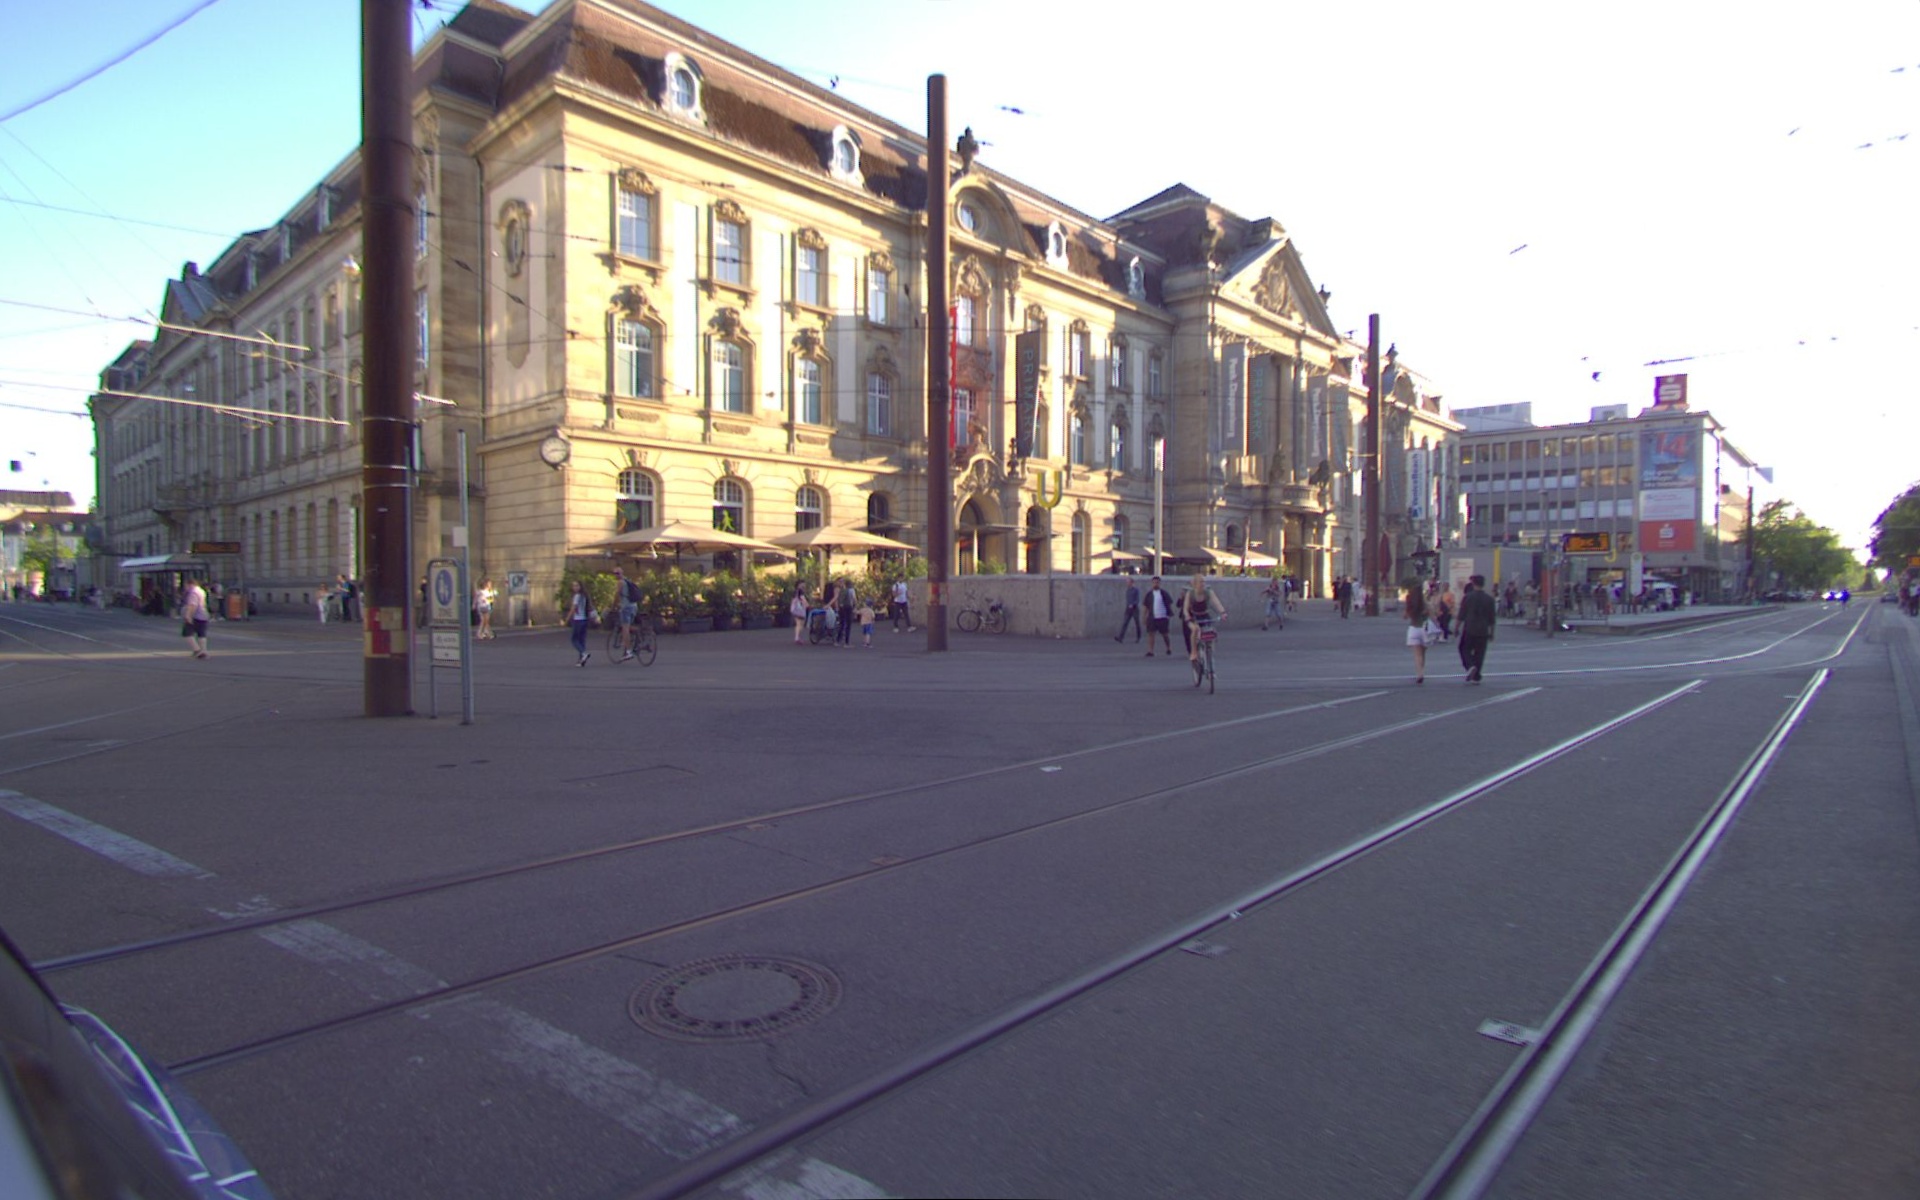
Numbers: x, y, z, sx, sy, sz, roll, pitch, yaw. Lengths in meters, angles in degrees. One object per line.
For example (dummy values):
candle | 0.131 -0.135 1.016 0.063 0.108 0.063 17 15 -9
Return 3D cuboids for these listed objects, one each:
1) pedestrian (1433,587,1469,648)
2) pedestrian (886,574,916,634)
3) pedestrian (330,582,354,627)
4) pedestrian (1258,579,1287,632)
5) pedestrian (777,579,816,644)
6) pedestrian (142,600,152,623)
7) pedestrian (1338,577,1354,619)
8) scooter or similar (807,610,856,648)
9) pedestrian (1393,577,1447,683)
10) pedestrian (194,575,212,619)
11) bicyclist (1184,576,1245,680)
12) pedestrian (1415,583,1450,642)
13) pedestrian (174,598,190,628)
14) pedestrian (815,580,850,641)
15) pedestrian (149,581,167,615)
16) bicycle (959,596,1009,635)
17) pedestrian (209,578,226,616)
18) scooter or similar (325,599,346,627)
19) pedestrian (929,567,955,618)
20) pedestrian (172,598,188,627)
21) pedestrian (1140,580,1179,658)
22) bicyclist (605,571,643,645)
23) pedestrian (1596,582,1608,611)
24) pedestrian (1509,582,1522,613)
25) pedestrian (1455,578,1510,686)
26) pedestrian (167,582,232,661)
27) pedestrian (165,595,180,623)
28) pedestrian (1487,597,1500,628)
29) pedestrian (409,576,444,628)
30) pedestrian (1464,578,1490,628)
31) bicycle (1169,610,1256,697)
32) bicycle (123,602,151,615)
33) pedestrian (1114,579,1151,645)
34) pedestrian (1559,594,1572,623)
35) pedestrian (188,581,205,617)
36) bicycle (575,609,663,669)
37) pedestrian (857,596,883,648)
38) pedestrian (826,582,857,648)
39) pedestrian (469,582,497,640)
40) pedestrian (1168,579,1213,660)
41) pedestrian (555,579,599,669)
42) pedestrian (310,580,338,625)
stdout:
pedestrian | 13.463 0.460 27.770 0.674 1.649 0.587 0 0 -13
pedestrian | -1.737 0.107 29.821 0.716 1.718 0.494 0 2 25
pedestrian | -24.813 0.178 40.629 0.705 1.789 0.614 0 1 40
pedestrian | 10.141 0.172 32.880 0.651 1.687 0.706 0 0 43
pedestrian | -4.135 0.285 25.655 0.687 1.626 0.819 0 0 17
pedestrian | -42.439 0.589 52.847 0.360 1.209 0.430 -2 2 -41
pedestrian | 15.095 -0.089 39.584 0.503 1.649 0.347 0 0 5
scooter or similar | -3.250 0.731 25.599 0.882 0.911 1.091 0 0 15
pedestrian | 7.485 0.472 16.477 0.651 1.687 0.523 0 0 44
pedestrian | -31.200 -0.113 41.721 0.461 1.789 0.563 -1 1 -25
bicyclist | 3.757 0.391 14.989 0.590 1.476 0.875 -1 2 -6
pedestrian | 13.252 0.340 28.388 0.674 1.649 0.587 0 0 -13
pedestrian | -35.437 0.581 46.095 0.511 1.337 0.638 -1 1 -43
pedestrian | -3.413 0.276 27.098 0.661 1.626 0.768 0 0 17
pedestrian | -40.019 -0.118 50.502 0.510 1.663 0.640 -1 1 -25
bicycle | 0.684 0.432 29.430 0.444 1.093 1.582 -3 2 -44
pedestrian | -32.988 -0.124 44.936 0.511 1.658 0.638 -1 1 -43
scooter or similar | -26.855 0.557 43.517 0.481 1.190 1.294 -3 2 -45
pedestrian | -0.610 -0.261 34.753 0.719 1.718 0.492 1 2 37
pedestrian | -36.023 0.574 46.745 0.511 1.337 0.638 -1 1 -43
pedestrian | 4.364 0.401 22.173 0.522 1.687 0.652 -1 0 -41
bicyclist | -6.598 0.147 19.885 0.562 1.438 0.417 0 2 36
pedestrian | 29.598 -0.169 46.640 0.451 1.330 0.424 0 2 37
pedestrian | 24.100 -0.120 43.912 0.451 1.309 0.424 0 2 37
pedestrian | 8.353 0.492 16.184 0.651 1.687 0.523 0 0 44
pedestrian | -16.188 0.437 21.559 0.830 1.641 0.797 -1 1 26
pedestrian | -38.242 0.454 49.157 0.511 1.337 0.638 -1 1 -43
pedestrian | 23.200 0.538 43.987 0.451 1.309 0.424 0 2 37
pedestrian | -17.206 0.054 32.637 0.972 1.641 0.681 0 1 42
pedestrian | 17.604 0.103 34.455 0.651 1.687 0.523 0 0 44
bicycle | 3.724 0.759 15.089 0.690 1.123 1.920 -1 2 -3
bicycle | -60.082 0.627 73.864 1.557 0.880 0.451 -3 2 -43
pedestrian | 4.479 0.291 26.298 0.651 1.687 0.706 0 0 43
pedestrian | 27.501 0.389 45.953 0.451 1.309 0.424 0 2 37
pedestrian | -33.809 -0.068 44.816 0.511 1.581 0.638 -1 1 -43
bicycle | -6.757 0.740 20.023 2.018 1.106 0.568 0 2 36
pedestrian | -2.191 0.531 24.623 0.476 1.252 0.413 -1 0 -31
pedestrian | -2.895 0.349 24.702 0.639 1.585 0.482 -1 0 -20
pedestrian | -13.031 0.295 27.656 0.495 1.536 0.528 -1 1 -3
pedestrian | 4.934 0.411 21.659 0.522 1.687 0.755 -1 0 -41
pedestrian | -7.341 0.445 19.399 0.640 1.687 0.531 -1 0 -39
pedestrian | -23.514 0.082 37.426 0.630 1.626 0.692 0 2 41
